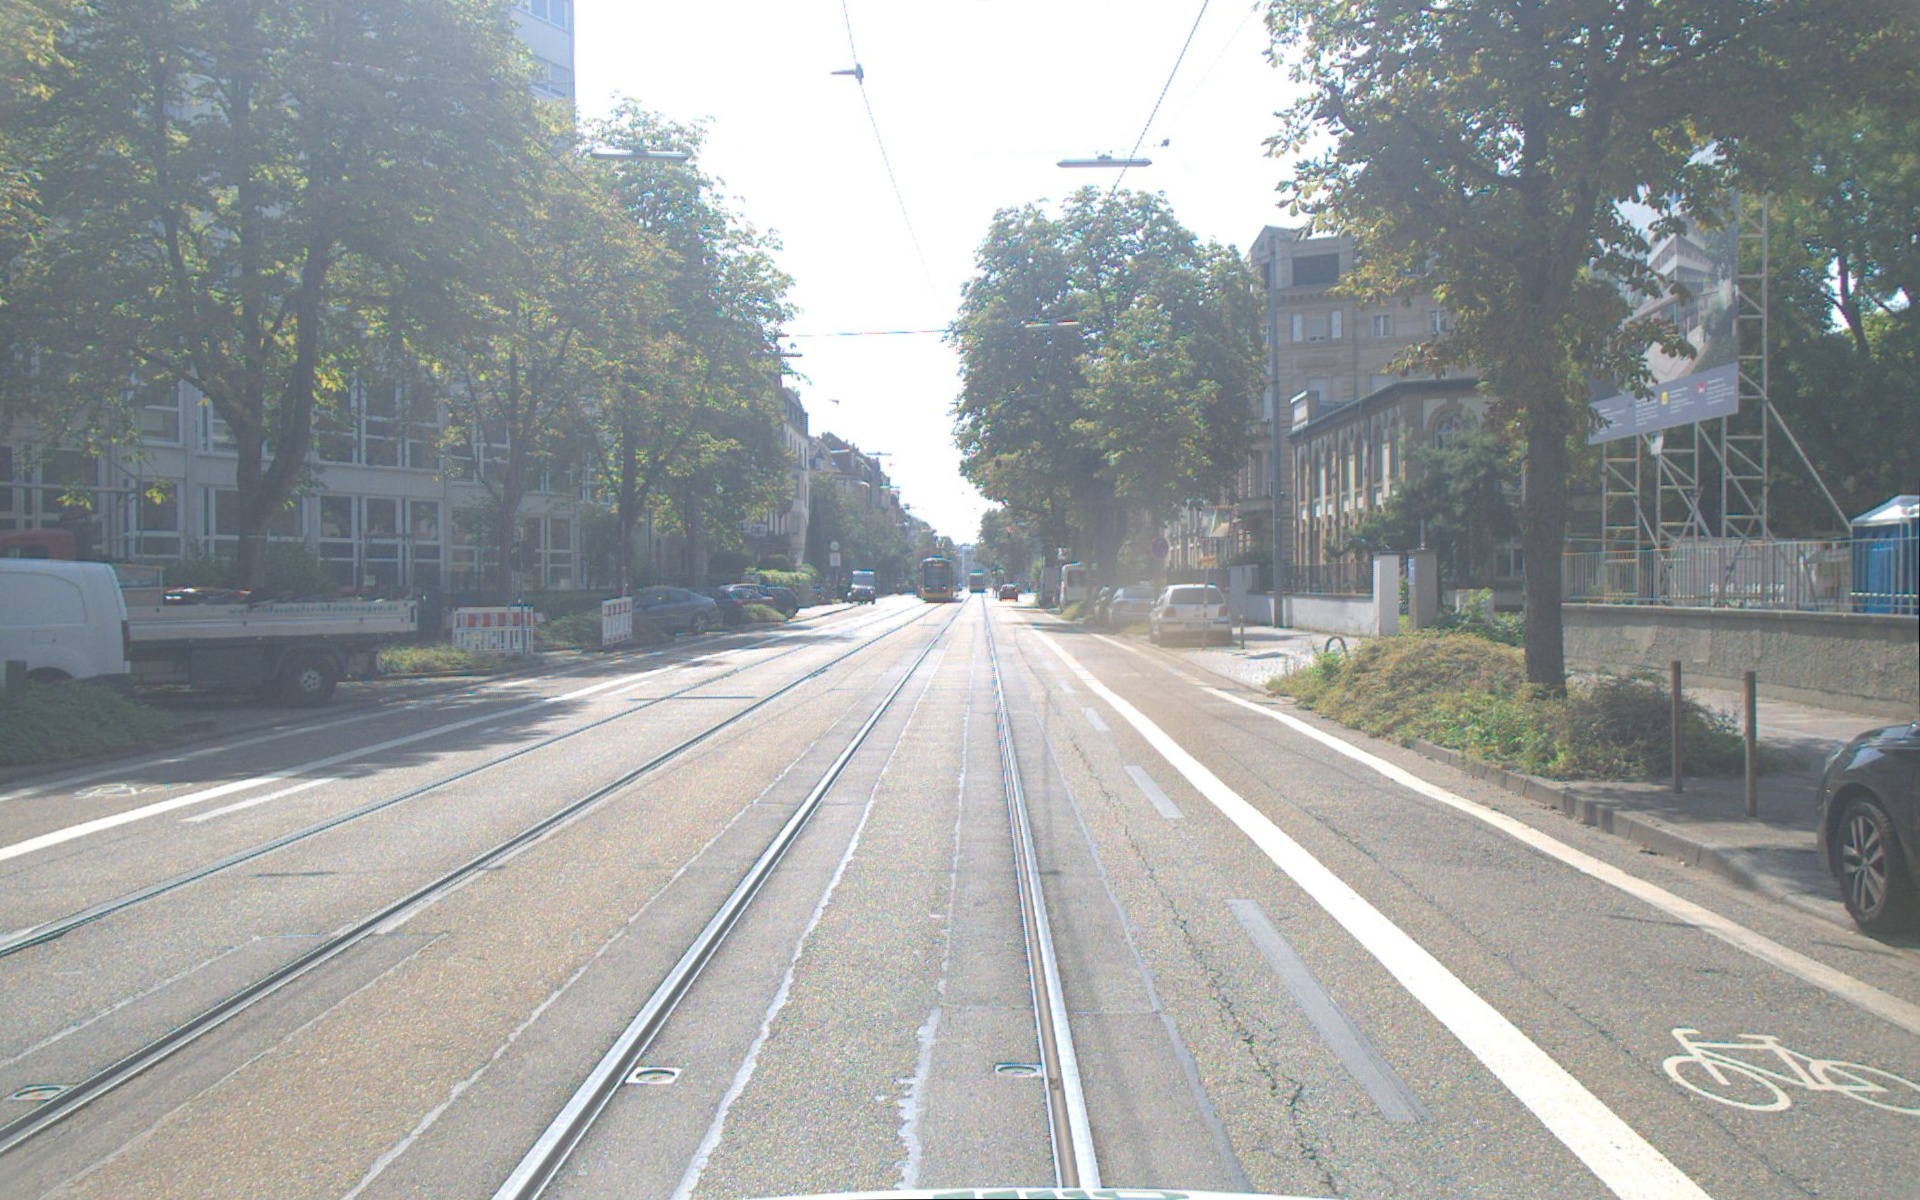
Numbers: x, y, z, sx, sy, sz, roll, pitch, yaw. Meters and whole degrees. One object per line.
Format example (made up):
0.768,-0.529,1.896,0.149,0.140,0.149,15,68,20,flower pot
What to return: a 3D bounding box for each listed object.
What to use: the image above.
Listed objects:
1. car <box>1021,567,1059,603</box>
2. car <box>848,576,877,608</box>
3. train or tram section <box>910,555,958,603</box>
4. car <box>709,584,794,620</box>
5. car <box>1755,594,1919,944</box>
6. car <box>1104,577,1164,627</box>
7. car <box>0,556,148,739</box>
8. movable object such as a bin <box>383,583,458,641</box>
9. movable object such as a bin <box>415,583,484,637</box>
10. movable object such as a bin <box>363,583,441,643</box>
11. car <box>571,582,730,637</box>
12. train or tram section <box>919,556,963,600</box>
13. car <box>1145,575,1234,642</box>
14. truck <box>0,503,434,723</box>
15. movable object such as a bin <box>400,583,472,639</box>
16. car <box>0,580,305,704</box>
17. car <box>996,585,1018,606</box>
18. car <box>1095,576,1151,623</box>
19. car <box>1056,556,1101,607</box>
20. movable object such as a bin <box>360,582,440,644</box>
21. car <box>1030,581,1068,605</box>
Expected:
5.207,-0.957,108.018,1.954,2.272,3.997,-1,1,-4,car
-7.709,-0.672,130.790,2.197,2.484,3.998,0,0,-3,car
-2.025,-1.739,135.712,3.424,3.769,12.415,0,1,1,train or tram section
-9.558,0.085,75.952,3.555,1.602,1.652,0,0,-41,car
4.964,0.744,6.318,1.639,1.483,4.664,-1,1,1,car
5.553,0.049,53.171,1.607,1.538,3.641,0,0,1,car
-10.620,0.481,16.440,4.251,1.803,1.797,-1,1,-43,car
-15.224,0.324,46.755,1.648,1.586,1.354,-1,0,-1,movable object such as a bin
-15.348,0.296,49.788,1.648,1.586,1.354,-1,0,-1,movable object such as a bin
-15.217,0.333,45.174,1.648,1.586,1.354,-1,0,-1,movable object such as a bin
-9.309,0.255,50.043,1.648,1.477,4.658,0,2,43,car
-1.621,-1.959,148.095,3.424,3.769,12.415,0,1,1,train or tram section
5.429,0.182,39.486,1.754,1.471,3.734,-2,0,3,car
-9.893,0.111,20.766,5.910,2.477,2.121,-1,1,-39,truck
-15.298,0.316,48.313,1.648,1.586,1.354,-1,0,-1,movable object such as a bin
-11.276,0.522,22.802,3.829,1.534,1.694,-1,0,-43,car
4.182,-0.390,147.872,1.952,1.832,4.001,0,0,1,car
5.814,-0.034,59.189,1.757,1.604,4.002,0,1,2,car
5.765,-0.905,80.819,1.952,2.407,4.001,0,0,1,car
-14.789,0.326,43.737,1.648,1.586,1.354,-1,0,-1,movable object such as a bin
5.451,-0.428,101.418,1.953,1.422,3.999,-1,1,-2,car
